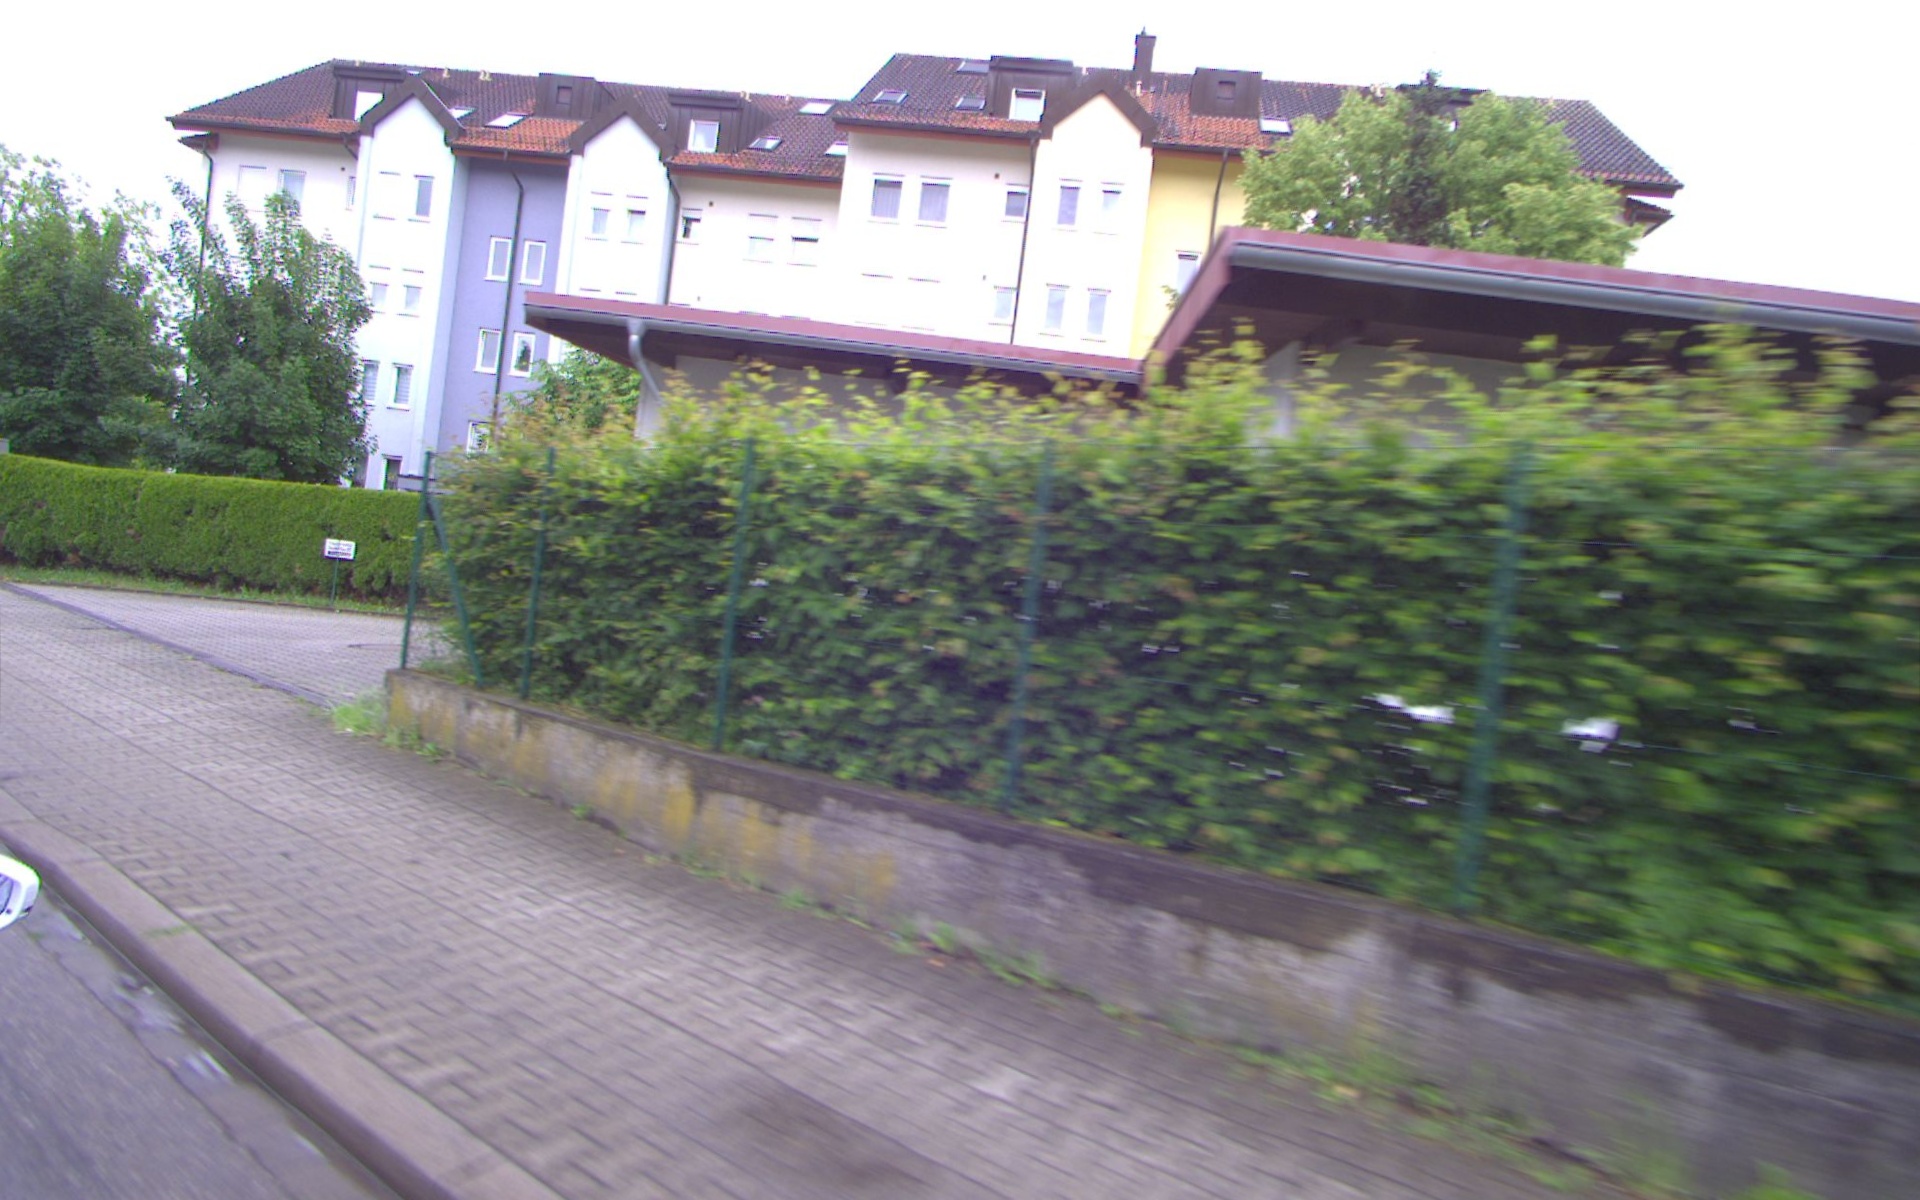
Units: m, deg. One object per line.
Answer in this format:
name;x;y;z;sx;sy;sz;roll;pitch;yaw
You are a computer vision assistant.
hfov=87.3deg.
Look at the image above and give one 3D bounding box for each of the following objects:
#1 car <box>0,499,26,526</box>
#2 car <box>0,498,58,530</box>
car;-57.622;-5.359;58.464;1.737;1.460;4.573;6;0;35
car;-54.984;-5.092;57.670;1.737;1.460;4.573;6;0;35
